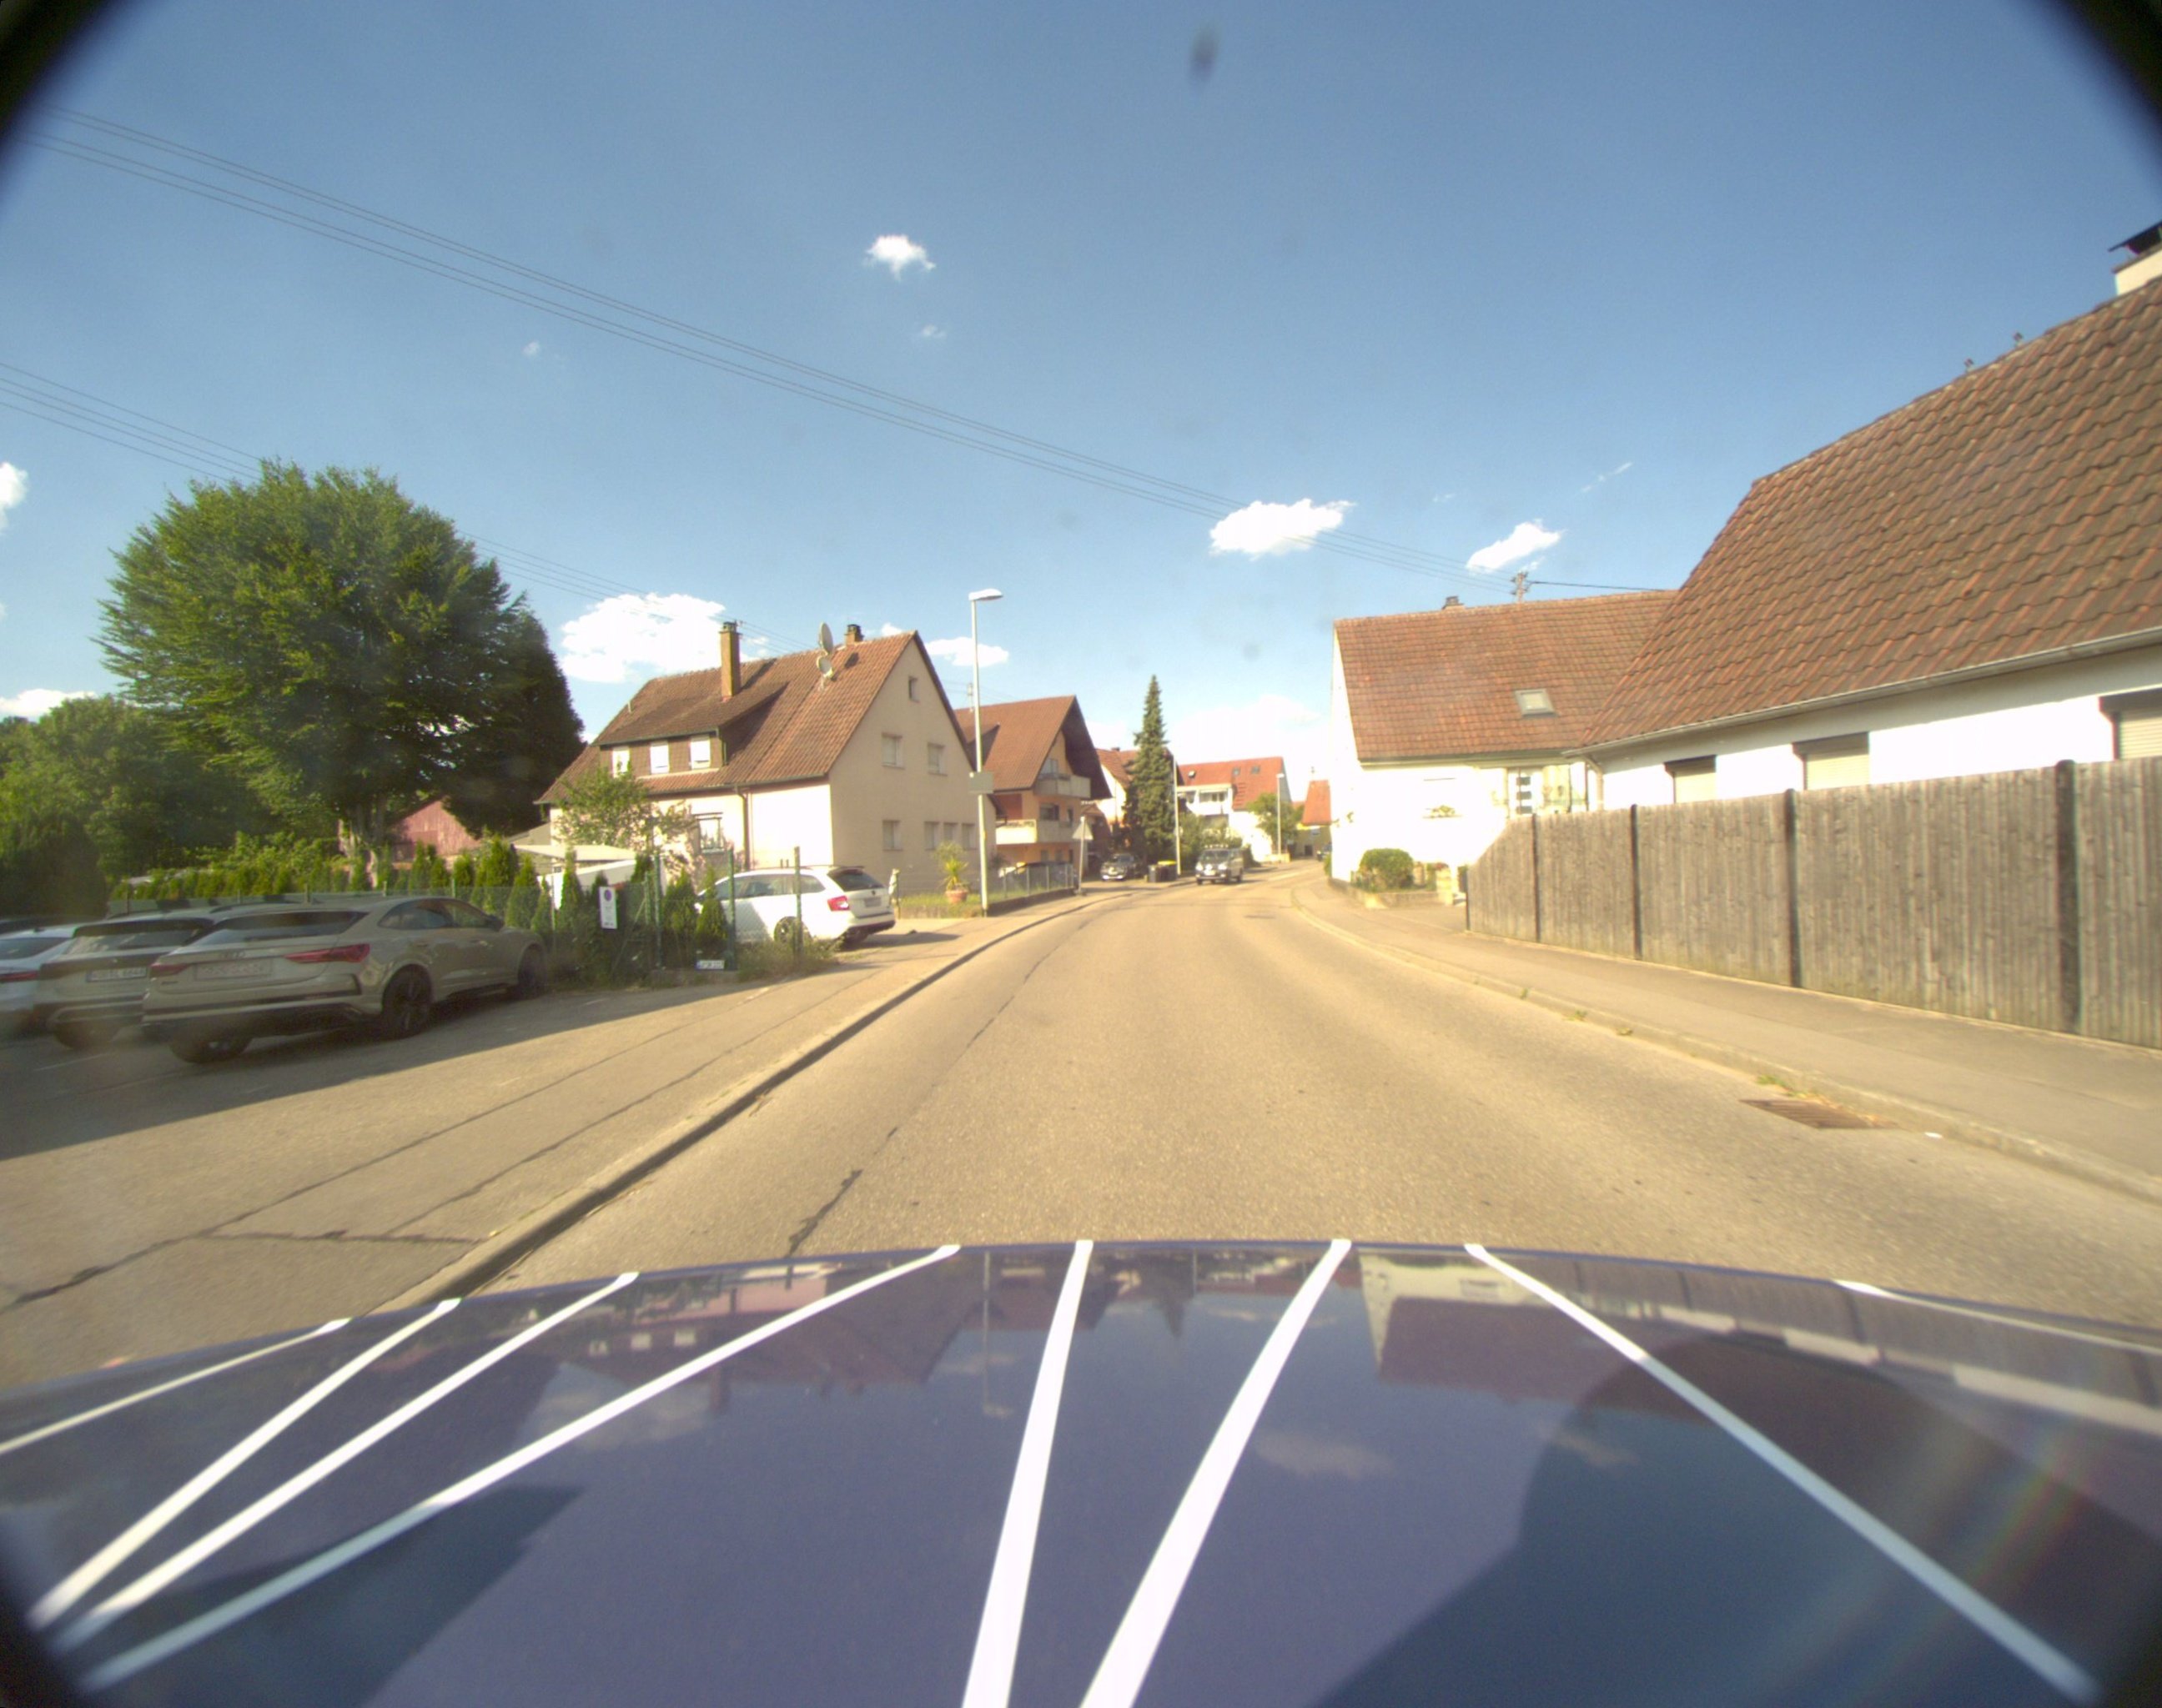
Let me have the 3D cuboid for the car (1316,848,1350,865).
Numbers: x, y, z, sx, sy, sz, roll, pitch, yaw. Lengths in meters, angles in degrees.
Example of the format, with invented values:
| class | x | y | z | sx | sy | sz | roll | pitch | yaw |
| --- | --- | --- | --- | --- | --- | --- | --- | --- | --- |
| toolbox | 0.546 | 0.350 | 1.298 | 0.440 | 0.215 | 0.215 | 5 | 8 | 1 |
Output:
| class | x | y | z | sx | sy | sz | roll | pitch | yaw |
| --- | --- | --- | --- | --- | --- | --- | --- | --- | --- |
| car | 25.410 | 0.260 | 76.533 | 1.968 | 1.646 | 4.008 | 0 | 1 | 38 |

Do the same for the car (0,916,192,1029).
| class | x | y | z | sx | sy | sz | roll | pitch | yaw |
| --- | --- | --- | --- | --- | --- | --- | --- | --- | --- |
| car | -17.426 | 1.919 | 12.575 | 1.681 | 1.492 | 3.672 | -1 | 0 | -14 |

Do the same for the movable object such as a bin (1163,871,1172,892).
| class | x | y | z | sx | sy | sz | roll | pitch | yaw |
| --- | --- | --- | --- | --- | --- | --- | --- | --- | --- |
| movable object such as a bin | 4.839 | 1.539 | 42.531 | 0.382 | 1.102 | 0.375 | -2 | -1 | 23 |

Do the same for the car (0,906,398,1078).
| class | x | y | z | sx | sy | sz | roll | pitch | yaw |
| --- | --- | --- | --- | --- | --- | --- | --- | --- | --- |
| car | -11.430 | 1.631 | 10.178 | 1.766 | 1.535 | 3.672 | -4 | 0 | -14 |

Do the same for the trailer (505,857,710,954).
| class | x | y | z | sx | sy | sz | roll | pitch | yaw |
| --- | --- | --- | --- | --- | --- | --- | --- | --- | --- |
| trailer | -9.508 | 0.968 | 15.505 | 1.522 | 1.741 | 3.222 | -2 | -1 | 22 |

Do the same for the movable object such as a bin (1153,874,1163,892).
| class | x | y | z | sx | sy | sz | roll | pitch | yaw |
| --- | --- | --- | --- | --- | --- | --- | --- | --- | --- |
| movable object such as a bin | 4.157 | 1.568 | 40.933 | 0.391 | 0.975 | 0.352 | -2 | -1 | 23 |

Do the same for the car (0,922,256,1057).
| class | x | y | z | sx | sy | sz | roll | pitch | yaw |
| --- | --- | --- | --- | --- | --- | --- | --- | --- | --- |
| car | -14.604 | 1.881 | 11.079 | 1.680 | 1.399 | 3.672 | -2 | 0 | -14 |

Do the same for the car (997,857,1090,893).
| class | x | y | z | sx | sy | sz | roll | pitch | yaw |
| --- | --- | --- | --- | --- | --- | --- | --- | --- | --- |
| car | -1.626 | 0.894 | 32.548 | 3.691 | 1.426 | 1.439 | -3 | -1 | 26 |

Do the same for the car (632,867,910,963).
| class | x | y | z | sx | sy | sz | roll | pitch | yaw |
| --- | --- | --- | --- | --- | --- | --- | --- | --- | --- |
| car | -5.472 | 1.052 | 13.440 | 4.469 | 1.449 | 1.733 | -2 | 0 | 20 |

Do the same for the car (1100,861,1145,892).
| class | x | y | z | sx | sy | sz | roll | pitch | yaw |
| --- | --- | --- | --- | --- | --- | --- | --- | --- | --- |
| car | 2.413 | 1.248 | 43.610 | 1.644 | 1.507 | 3.805 | -2 | 1 | 17 |

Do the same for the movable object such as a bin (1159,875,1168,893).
| class | x | y | z | sx | sy | sz | roll | pitch | yaw |
| --- | --- | --- | --- | --- | --- | --- | --- | --- | --- |
| movable object such as a bin | 4.558 | 1.646 | 42.160 | 0.391 | 0.975 | 0.352 | -2 | -1 | 23 |

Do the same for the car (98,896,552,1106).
| class | x | y | z | sx | sy | sz | roll | pitch | yaw |
| --- | --- | --- | --- | --- | --- | --- | --- | --- | --- |
| car | -8.256 | 1.428 | 8.981 | 1.700 | 1.510 | 4.272 | -5 | 1 | -13 |

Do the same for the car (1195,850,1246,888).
| class | x | y | z | sx | sy | sz | roll | pitch | yaw |
| --- | --- | --- | --- | --- | --- | --- | --- | --- | --- |
| car | 7.955 | 0.841 | 42.892 | 1.817 | 1.988 | 4.829 | -2 | -1 | 22 |

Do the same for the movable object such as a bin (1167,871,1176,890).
| class | x | y | z | sx | sy | sz | roll | pitch | yaw |
| --- | --- | --- | --- | --- | --- | --- | --- | --- | --- |
| movable object such as a bin | 5.157 | 1.505 | 43.198 | 0.335 | 1.102 | 0.440 | -2 | -1 | 23 |

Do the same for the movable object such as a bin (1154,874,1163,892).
| class | x | y | z | sx | sy | sz | roll | pitch | yaw |
| --- | --- | --- | --- | --- | --- | --- | --- | --- | --- |
| movable object such as a bin | 4.231 | 1.595 | 41.477 | 0.391 | 0.975 | 0.352 | -2 | -1 | 23 |

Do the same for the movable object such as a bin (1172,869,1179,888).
| class | x | y | z | sx | sy | sz | roll | pitch | yaw |
| --- | --- | --- | --- | --- | --- | --- | --- | --- | --- |
| movable object such as a bin | 5.453 | 1.399 | 43.768 | 0.294 | 1.102 | 0.387 | -2 | -1 | 23 |
